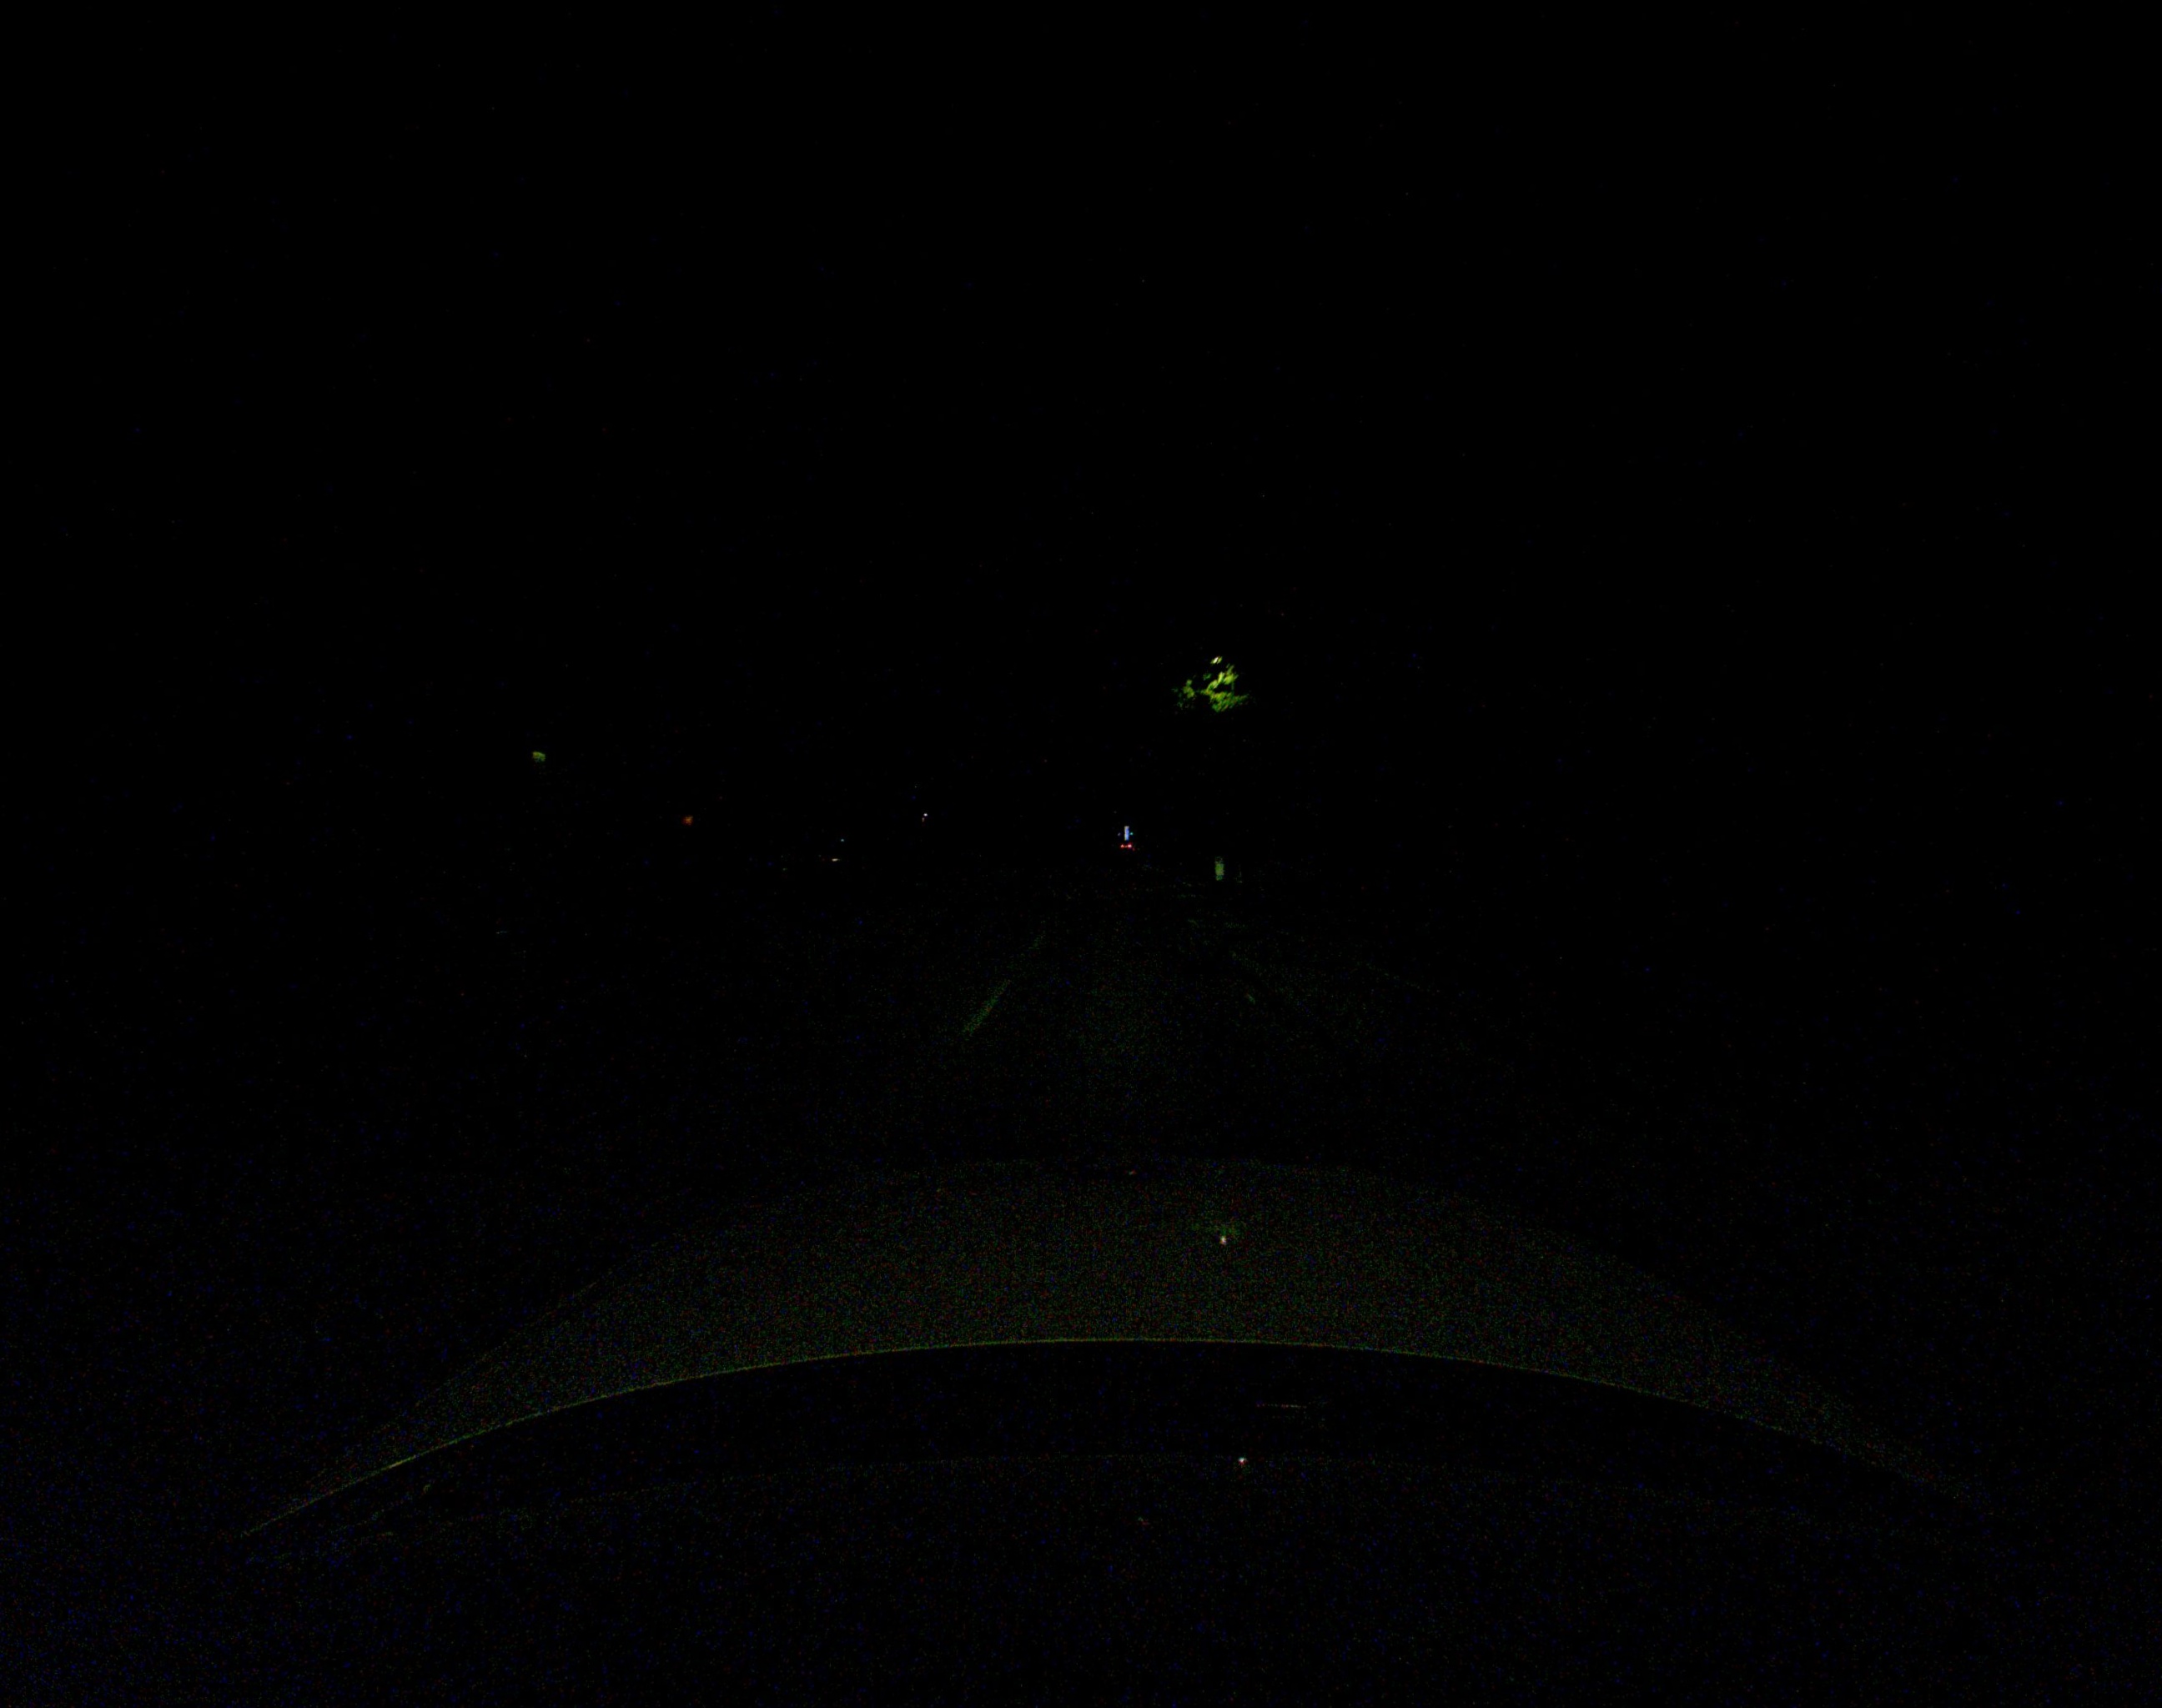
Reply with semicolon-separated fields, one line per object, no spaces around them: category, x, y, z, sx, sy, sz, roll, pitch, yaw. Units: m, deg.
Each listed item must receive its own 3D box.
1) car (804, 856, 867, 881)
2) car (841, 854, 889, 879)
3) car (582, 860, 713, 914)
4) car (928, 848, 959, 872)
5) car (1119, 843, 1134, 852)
car;-14.343;0.826;47.907;1.987;1.338;5.432;-2;0;1
car;-14.234;0.781;53.883;1.987;1.530;4.000;-2;0;1
car;-14.939;1.074;28.408;1.987;1.628;4.677;-2;0;1
car;-13.241;0.553;78.651;2.085;2.013;4.000;-6;0;1
car;7.881;-1.090;140.860;2.149;1.583;4.022;-1;0;8
